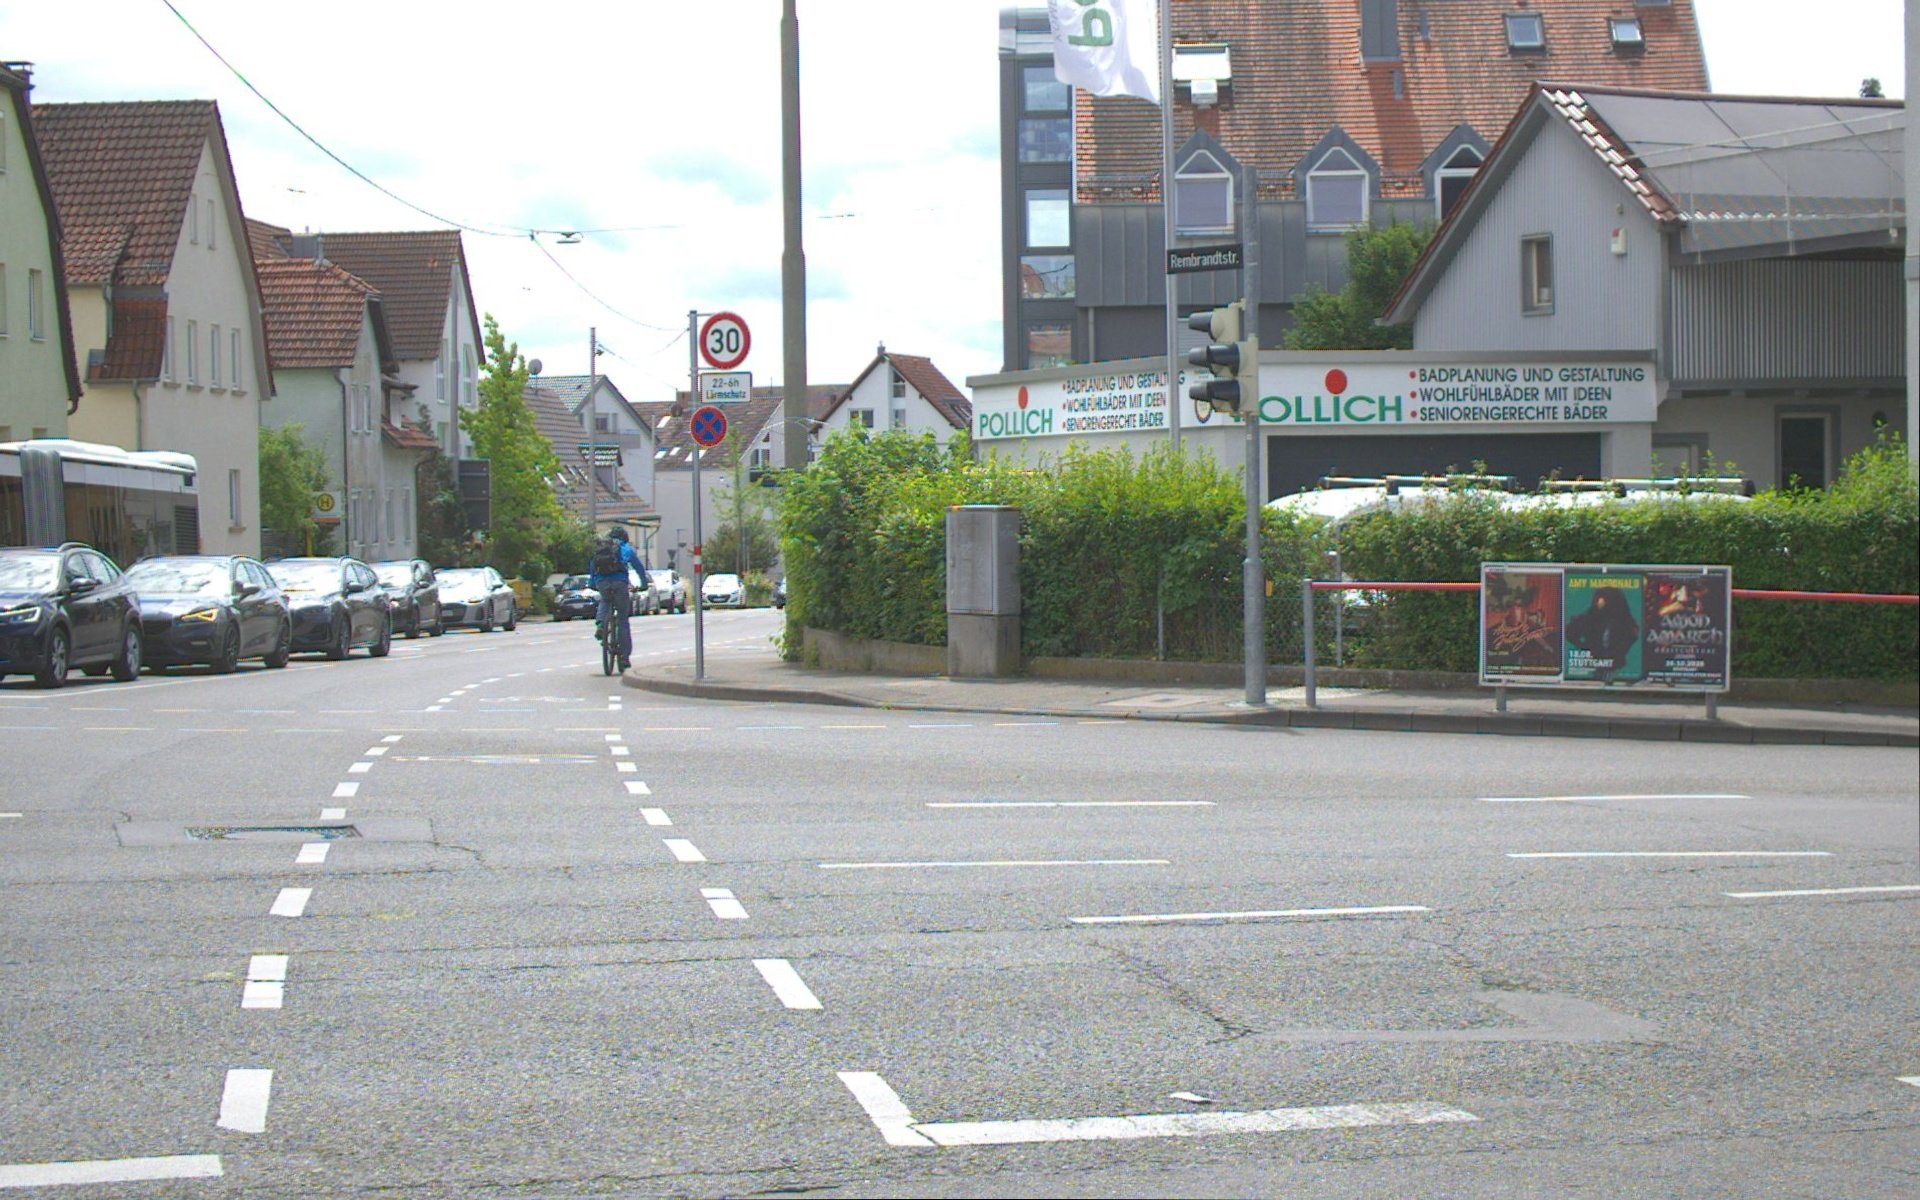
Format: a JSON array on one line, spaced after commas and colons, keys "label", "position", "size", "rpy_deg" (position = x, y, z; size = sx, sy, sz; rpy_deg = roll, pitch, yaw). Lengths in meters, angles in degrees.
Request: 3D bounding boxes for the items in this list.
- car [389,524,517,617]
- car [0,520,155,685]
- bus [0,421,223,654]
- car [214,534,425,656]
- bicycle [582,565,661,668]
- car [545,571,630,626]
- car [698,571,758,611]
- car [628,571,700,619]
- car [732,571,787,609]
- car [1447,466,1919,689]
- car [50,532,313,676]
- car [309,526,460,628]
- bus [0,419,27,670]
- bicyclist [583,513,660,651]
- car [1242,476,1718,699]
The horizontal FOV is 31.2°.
[{"label": "car", "position": [-11.263, -0.689, 76.609], "size": [1.994, 2.007, 4.000], "rpy_deg": [0, 1, 4]}, {"label": "car", "position": [-10.071, -0.024, 36.251], "size": [1.994, 1.634, 4.000], "rpy_deg": [1, 1, 4]}, {"label": "bus", "position": [-12.740, -0.889, 47.576], "size": [2.778, 2.904, 9.191], "rpy_deg": [0, 1, 2]}, {"label": "car", "position": [-9.020, -0.102, 48.733], "size": [1.994, 1.634, 4.000], "rpy_deg": [1, 1, 4]}, {"label": "bicycle", "position": [-4.029, 0.177, 40.838], "size": [0.832, 1.160, 2.192], "rpy_deg": [0, 1, -8]}, {"label": "car", "position": [-11.785, -0.072, 109.047], "size": [1.994, 1.634, 4.000], "rpy_deg": [1, 1, 4]}, {"label": "car", "position": [-9.927, -0.403, 147.386], "size": [1.994, 1.634, 4.000], "rpy_deg": [1, 1, 4]}, {"label": "car", "position": [-10.660, -0.209, 123.992], "size": [1.994, 1.634, 4.000], "rpy_deg": [1, 1, 4]}, {"label": "car", "position": [-9.155, -0.480, 156.933], "size": [1.994, 1.634, 4.000], "rpy_deg": [1, 1, 4]}, {"label": "car", "position": [6.718, -0.214, 31.556], "size": [3.986, 1.941, 2.001], "rpy_deg": [0, 1, -22]}, {"label": "car", "position": [-9.381, 0.000, 41.751], "size": [1.994, 1.634, 4.183], "rpy_deg": [1, 1, 4]}, {"label": "car", "position": [-11.666, -0.497, 69.989], "size": [1.994, 2.007, 3.999], "rpy_deg": [0, 1, 7]}, {"label": "bus", "position": [-13.182, -0.605, 38.265], "size": [2.778, 3.049, 9.191], "rpy_deg": [0, 1, 2]}, {"label": "bicyclist", "position": [-4.027, -0.222, 40.831], "size": [0.840, 1.609, 1.083], "rpy_deg": [0, 1, -9]}, {"label": "car", "position": [4.916, -0.135, 32.616], "size": [3.986, 2.007, 2.001], "rpy_deg": [0, 1, -21]}]
